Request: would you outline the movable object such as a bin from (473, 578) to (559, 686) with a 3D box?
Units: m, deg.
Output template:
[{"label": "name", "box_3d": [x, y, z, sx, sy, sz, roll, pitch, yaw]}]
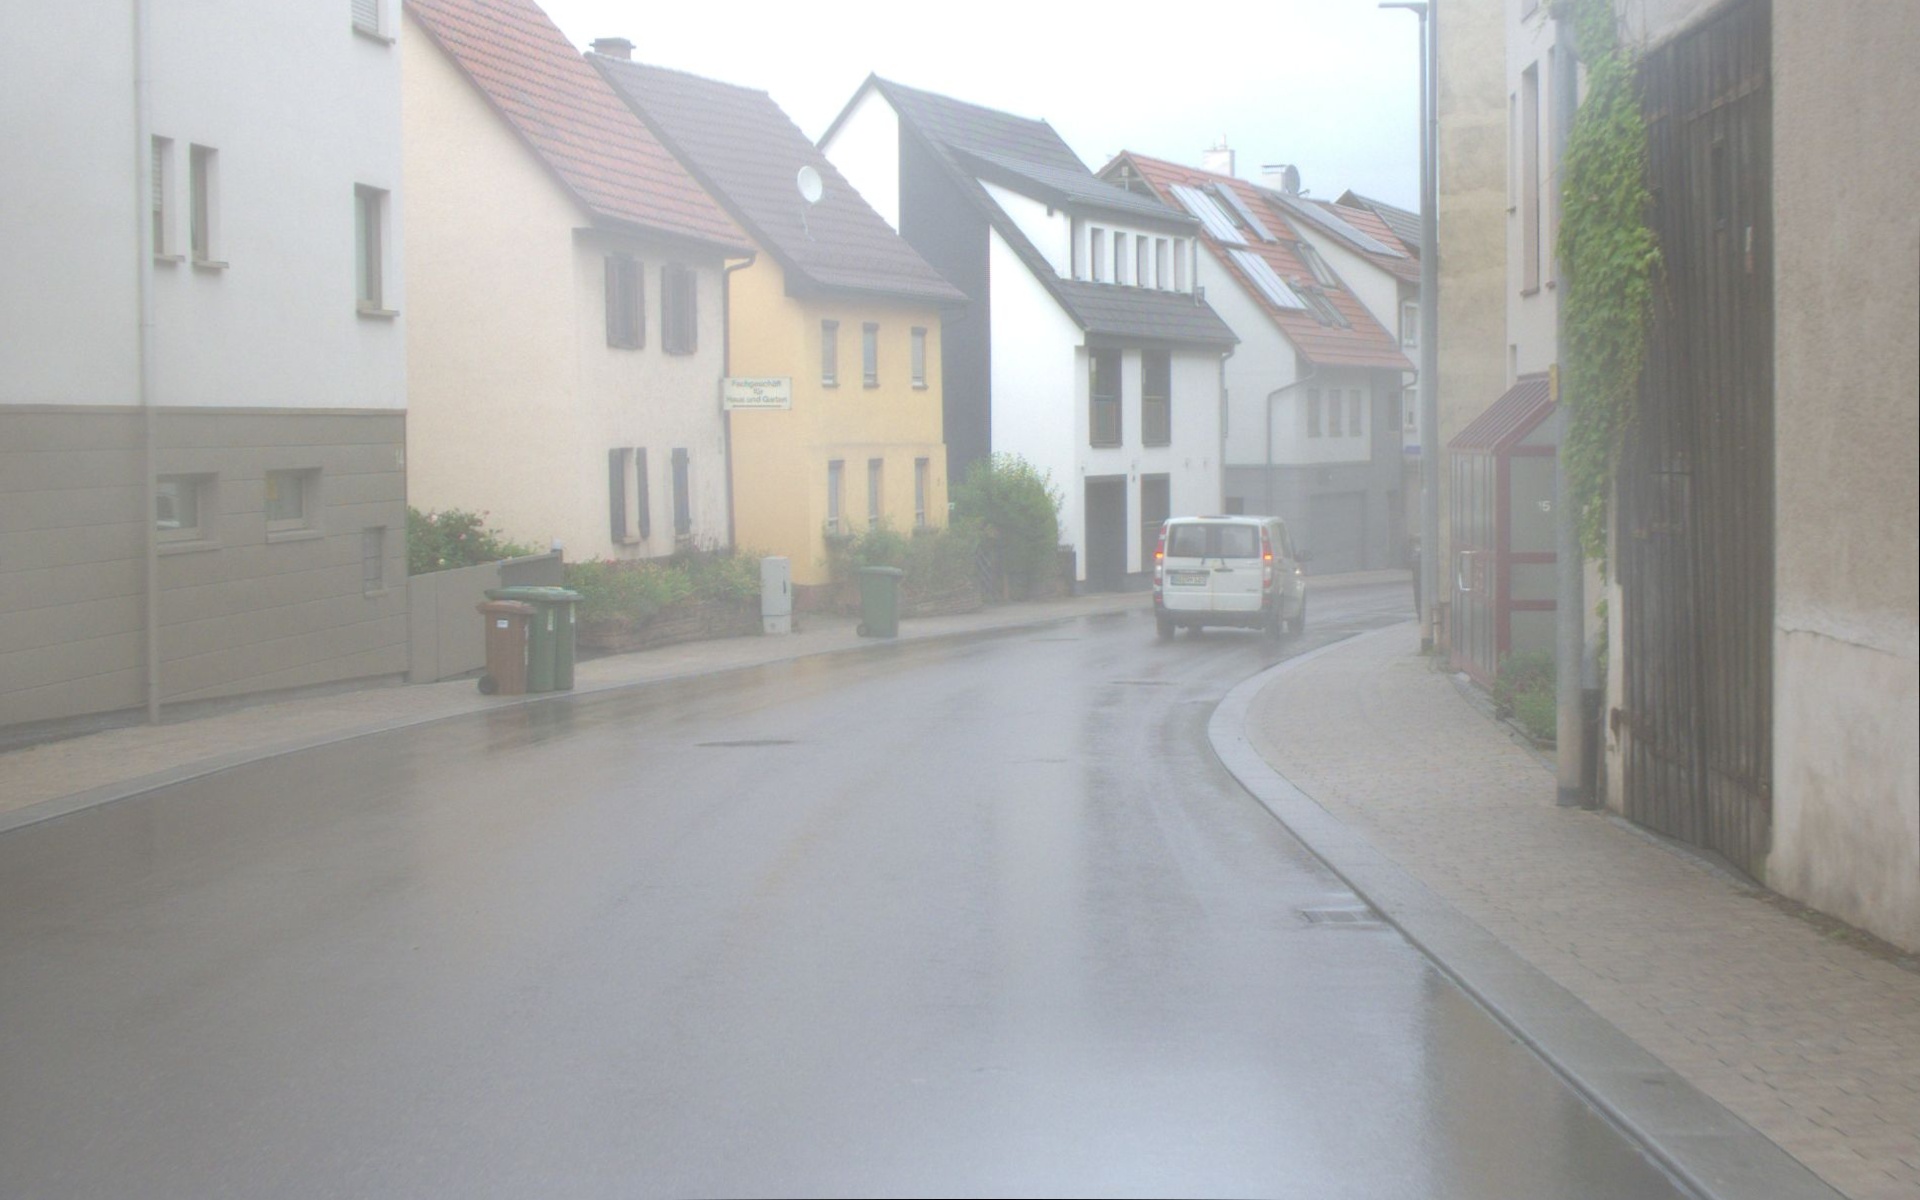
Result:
[{"label": "movable object such as a bin", "box_3d": [-4.521, 0.320, 35.059, 0.682, 1.063, 0.694, 1, 1, 9]}]

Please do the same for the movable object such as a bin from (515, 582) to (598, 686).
[{"label": "movable object such as a bin", "box_3d": [-4.176, 0.344, 35.622, 0.682, 1.042, 0.661, 1, 1, 9]}]

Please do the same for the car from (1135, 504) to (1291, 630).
[{"label": "car", "box_3d": [3.937, -0.518, 52.840, 2.195, 1.845, 4.303, 0, 1, 7]}]

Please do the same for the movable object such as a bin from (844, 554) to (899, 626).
[{"label": "movable object such as a bin", "box_3d": [-1.346, -0.152, 52.483, 0.660, 1.052, 0.763, 3, 2, 11]}]

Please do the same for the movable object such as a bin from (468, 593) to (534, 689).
[{"label": "movable object such as a bin", "box_3d": [-4.570, 0.405, 34.242, 0.506, 0.919, 0.579, 1, 1, 7]}]
